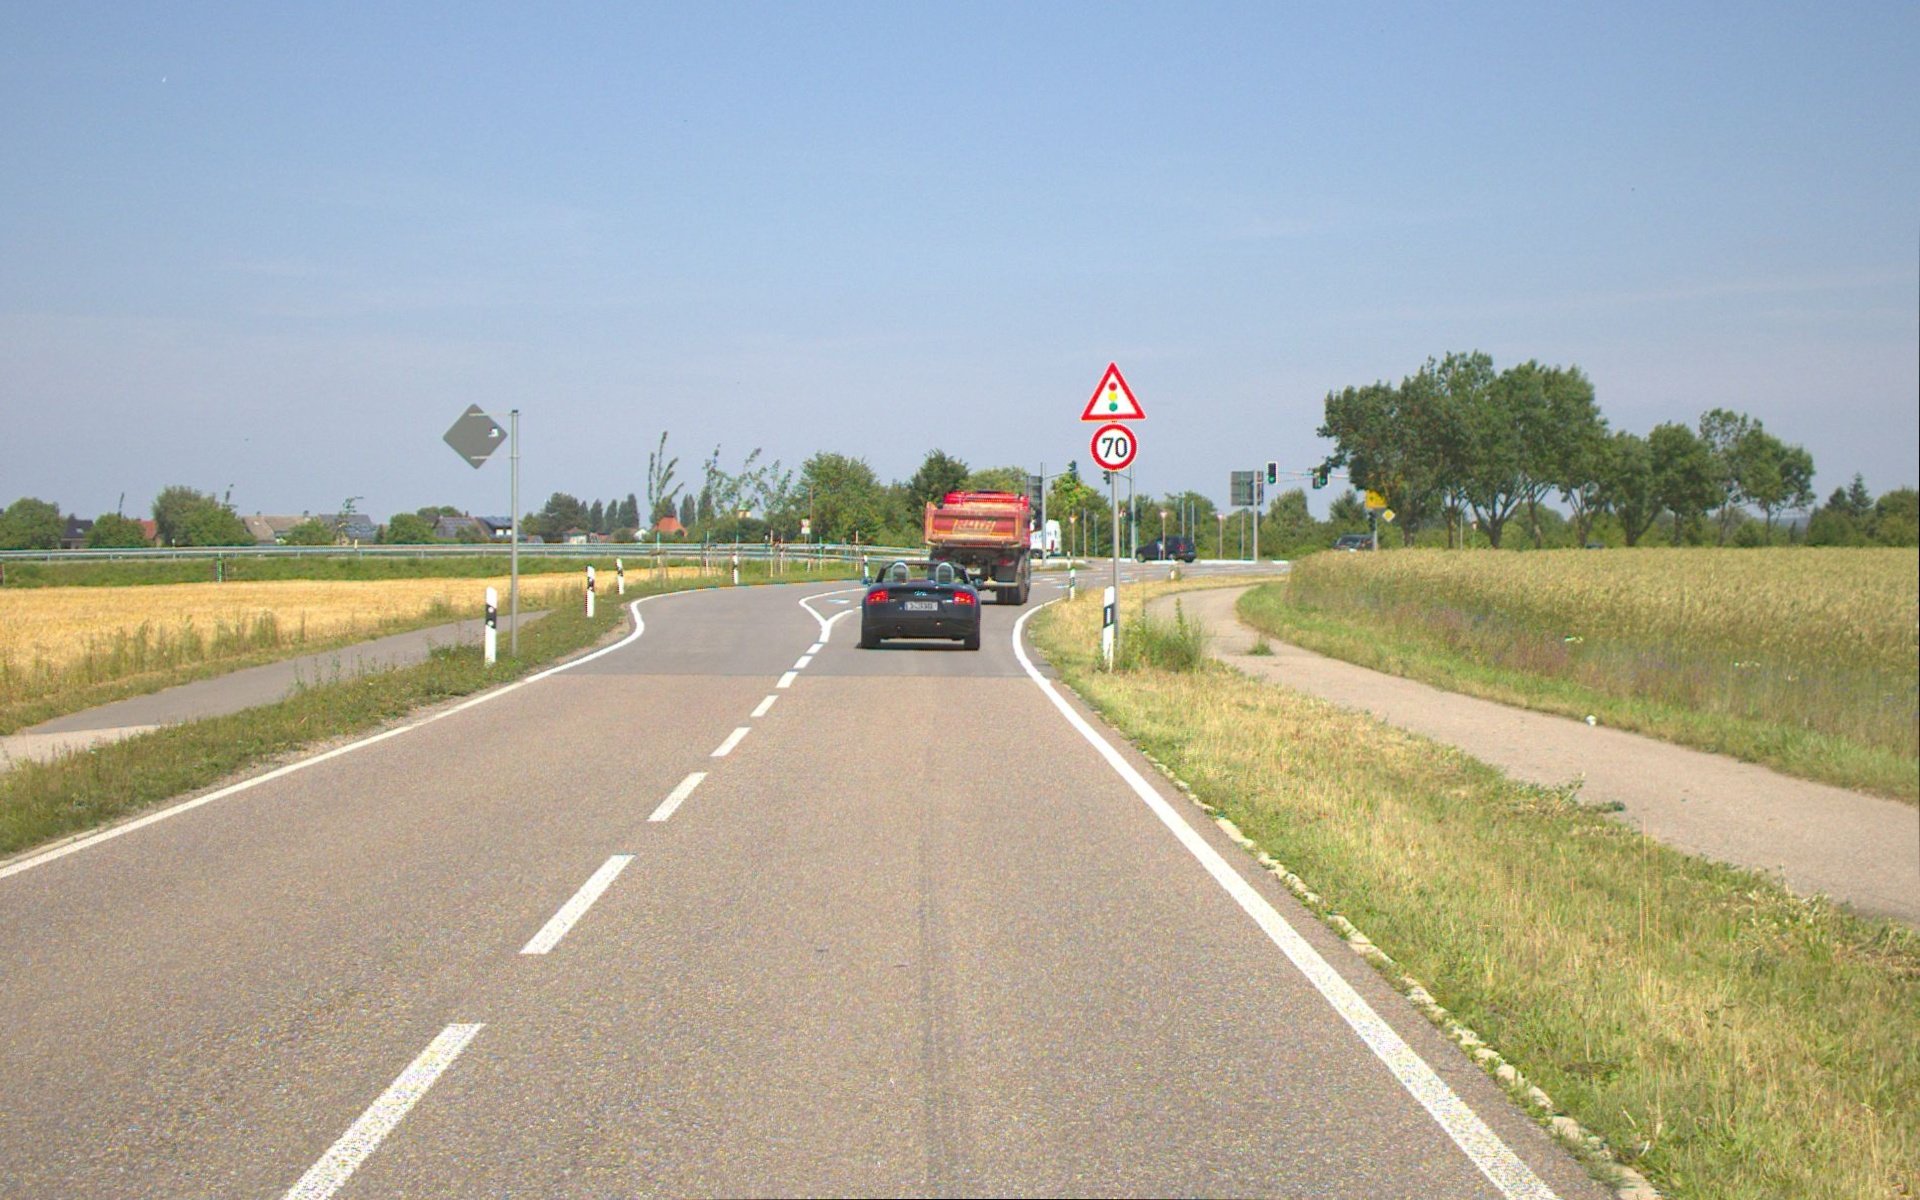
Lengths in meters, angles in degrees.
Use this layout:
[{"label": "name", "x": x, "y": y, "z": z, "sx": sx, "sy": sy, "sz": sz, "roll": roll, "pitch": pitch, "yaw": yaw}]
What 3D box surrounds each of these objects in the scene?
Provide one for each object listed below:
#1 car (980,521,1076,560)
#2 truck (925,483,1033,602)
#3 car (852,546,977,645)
[{"label": "car", "x": 4.397, "y": -3.812, "z": 220.544, "sx": 5.919, "sy": 2.413, "sz": 2.247, "roll": 1, "pitch": 1, "yaw": 7}, {"label": "truck", "x": 0.581, "y": -1.507, "z": 93.791, "sx": 2.714, "sy": 3.042, "sz": 8.164, "roll": 1, "pitch": 0, "yaw": 2}, {"label": "car", "x": -0.675, "y": -0.067, "z": 51.133, "sx": 1.747, "sy": 1.371, "sz": 3.679, "roll": 2, "pitch": 0, "yaw": -1}]
